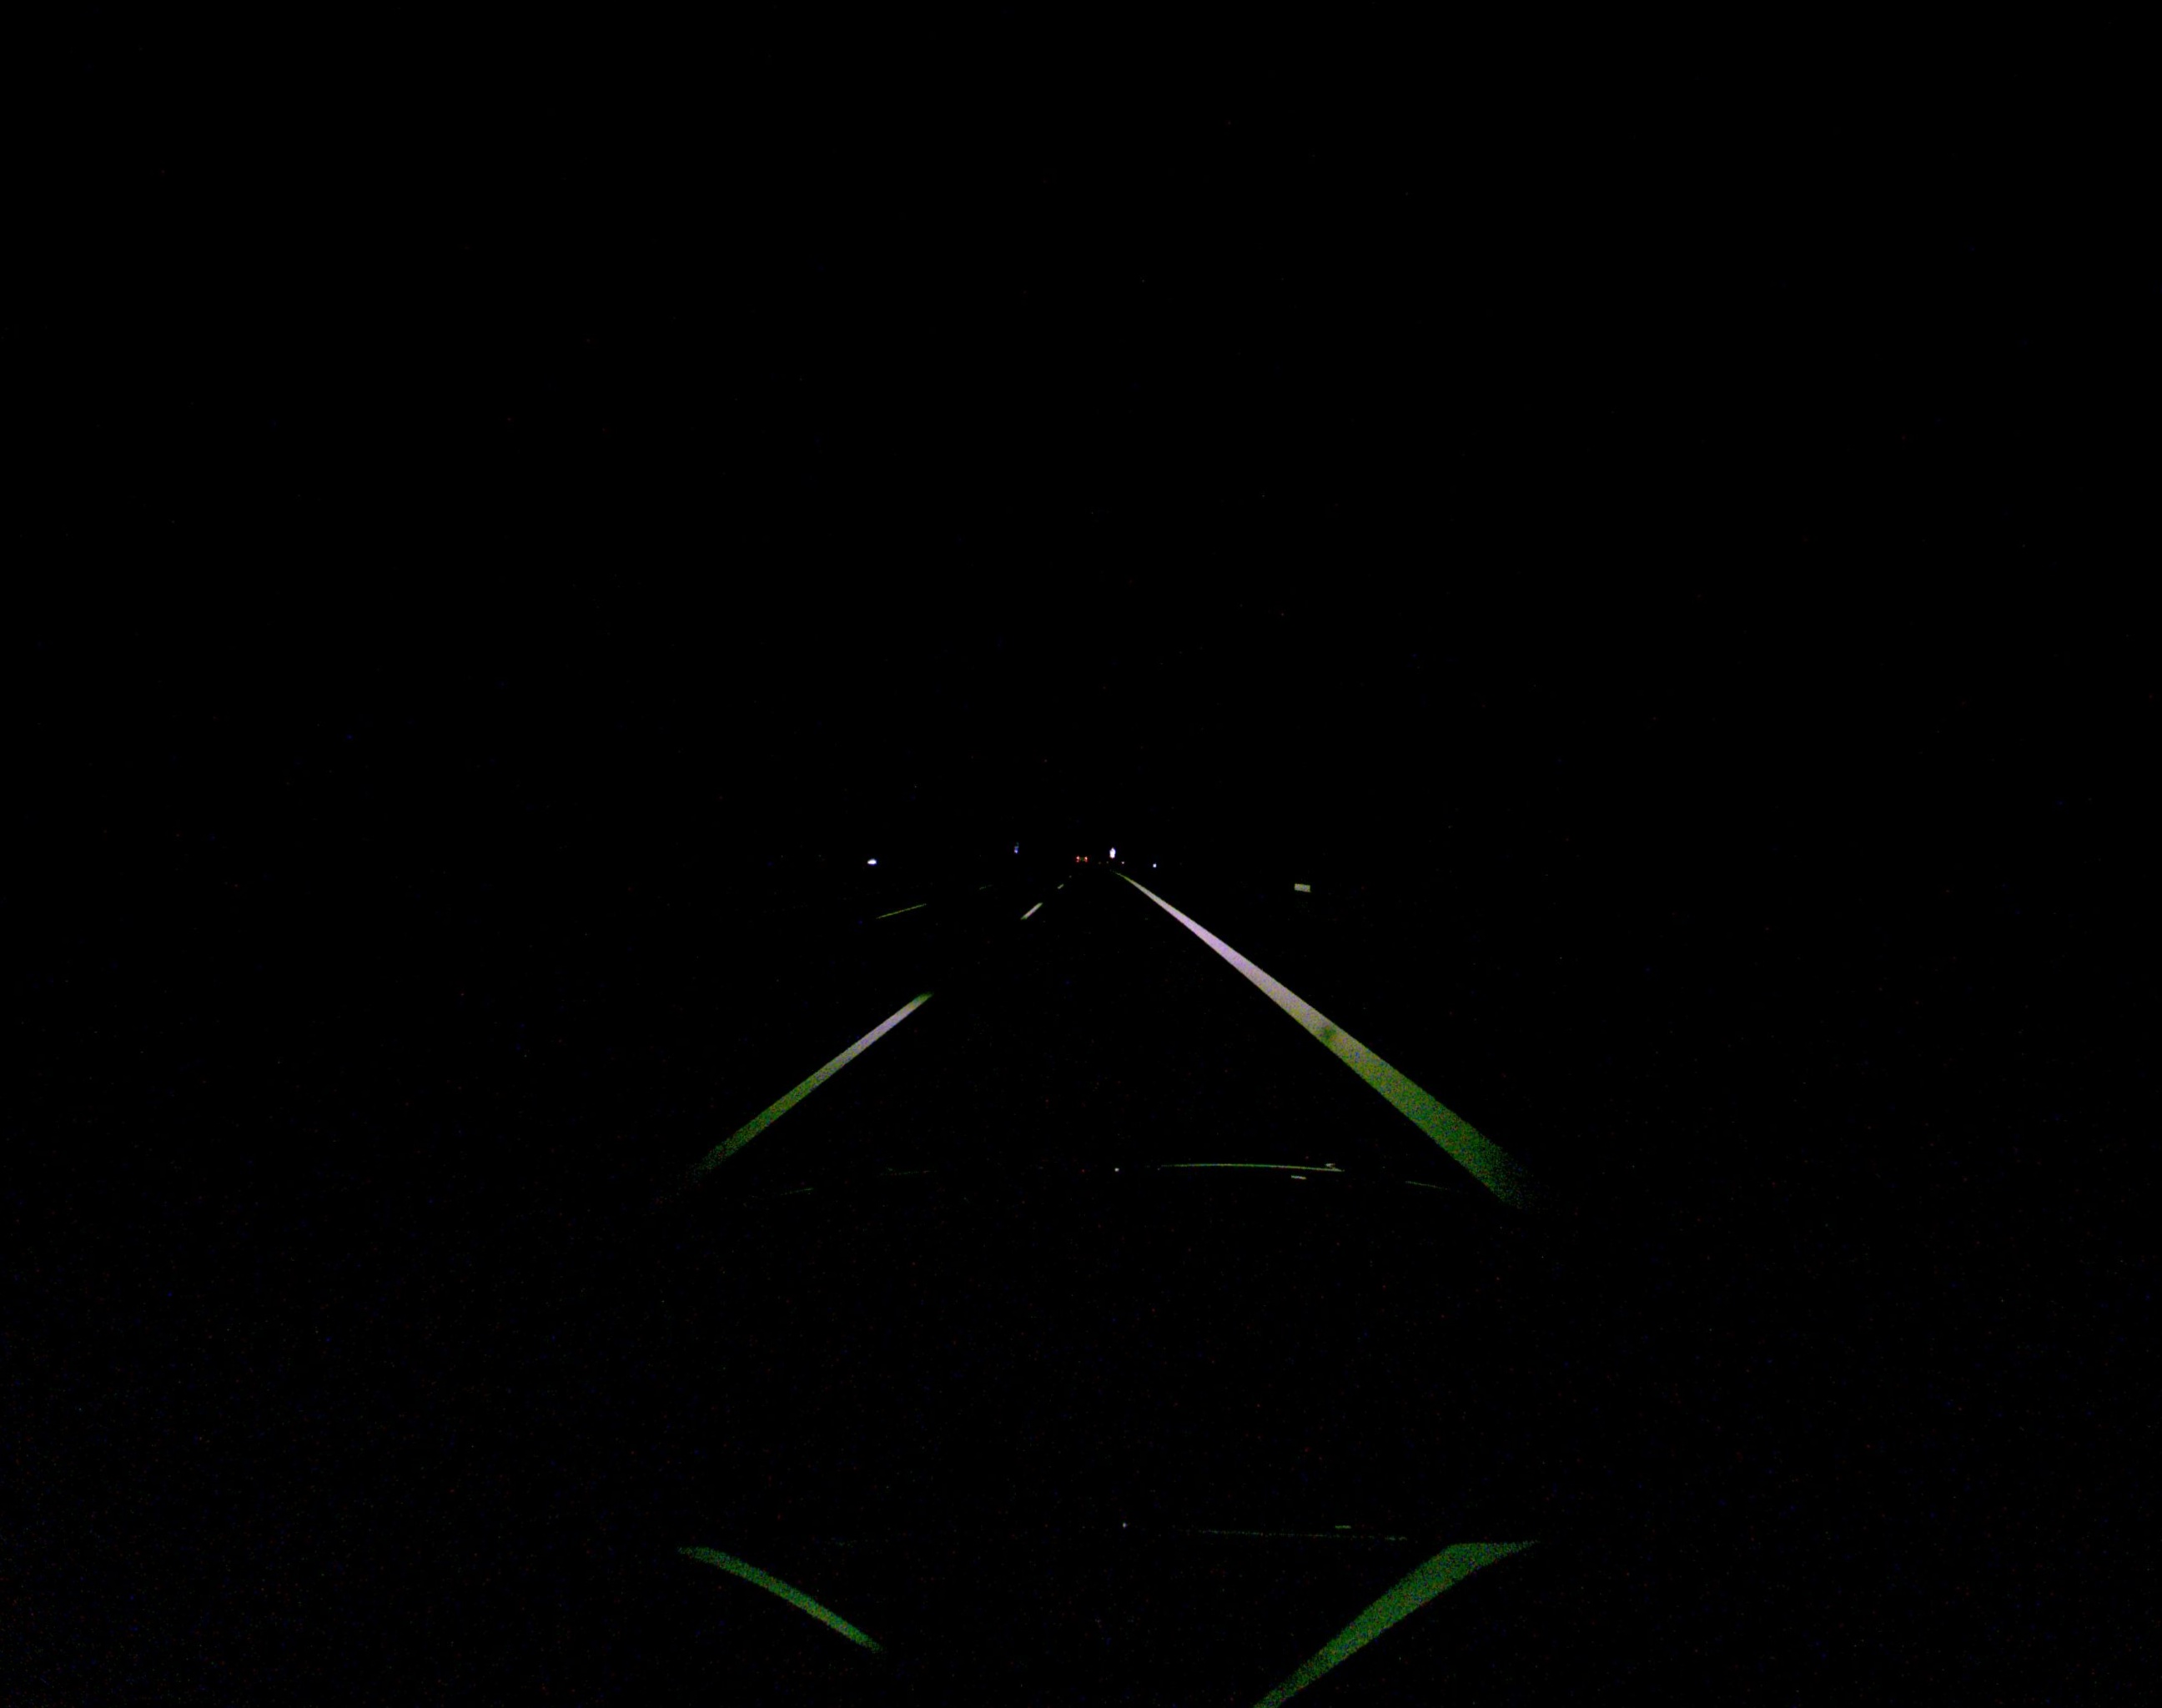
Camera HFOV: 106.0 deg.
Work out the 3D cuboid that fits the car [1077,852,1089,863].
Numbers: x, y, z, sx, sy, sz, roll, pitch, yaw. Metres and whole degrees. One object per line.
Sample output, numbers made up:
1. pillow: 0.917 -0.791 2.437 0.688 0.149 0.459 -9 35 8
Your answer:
1. car: 0.481 0.824 186.194 2.518 2.553 6.052 1 0 1
